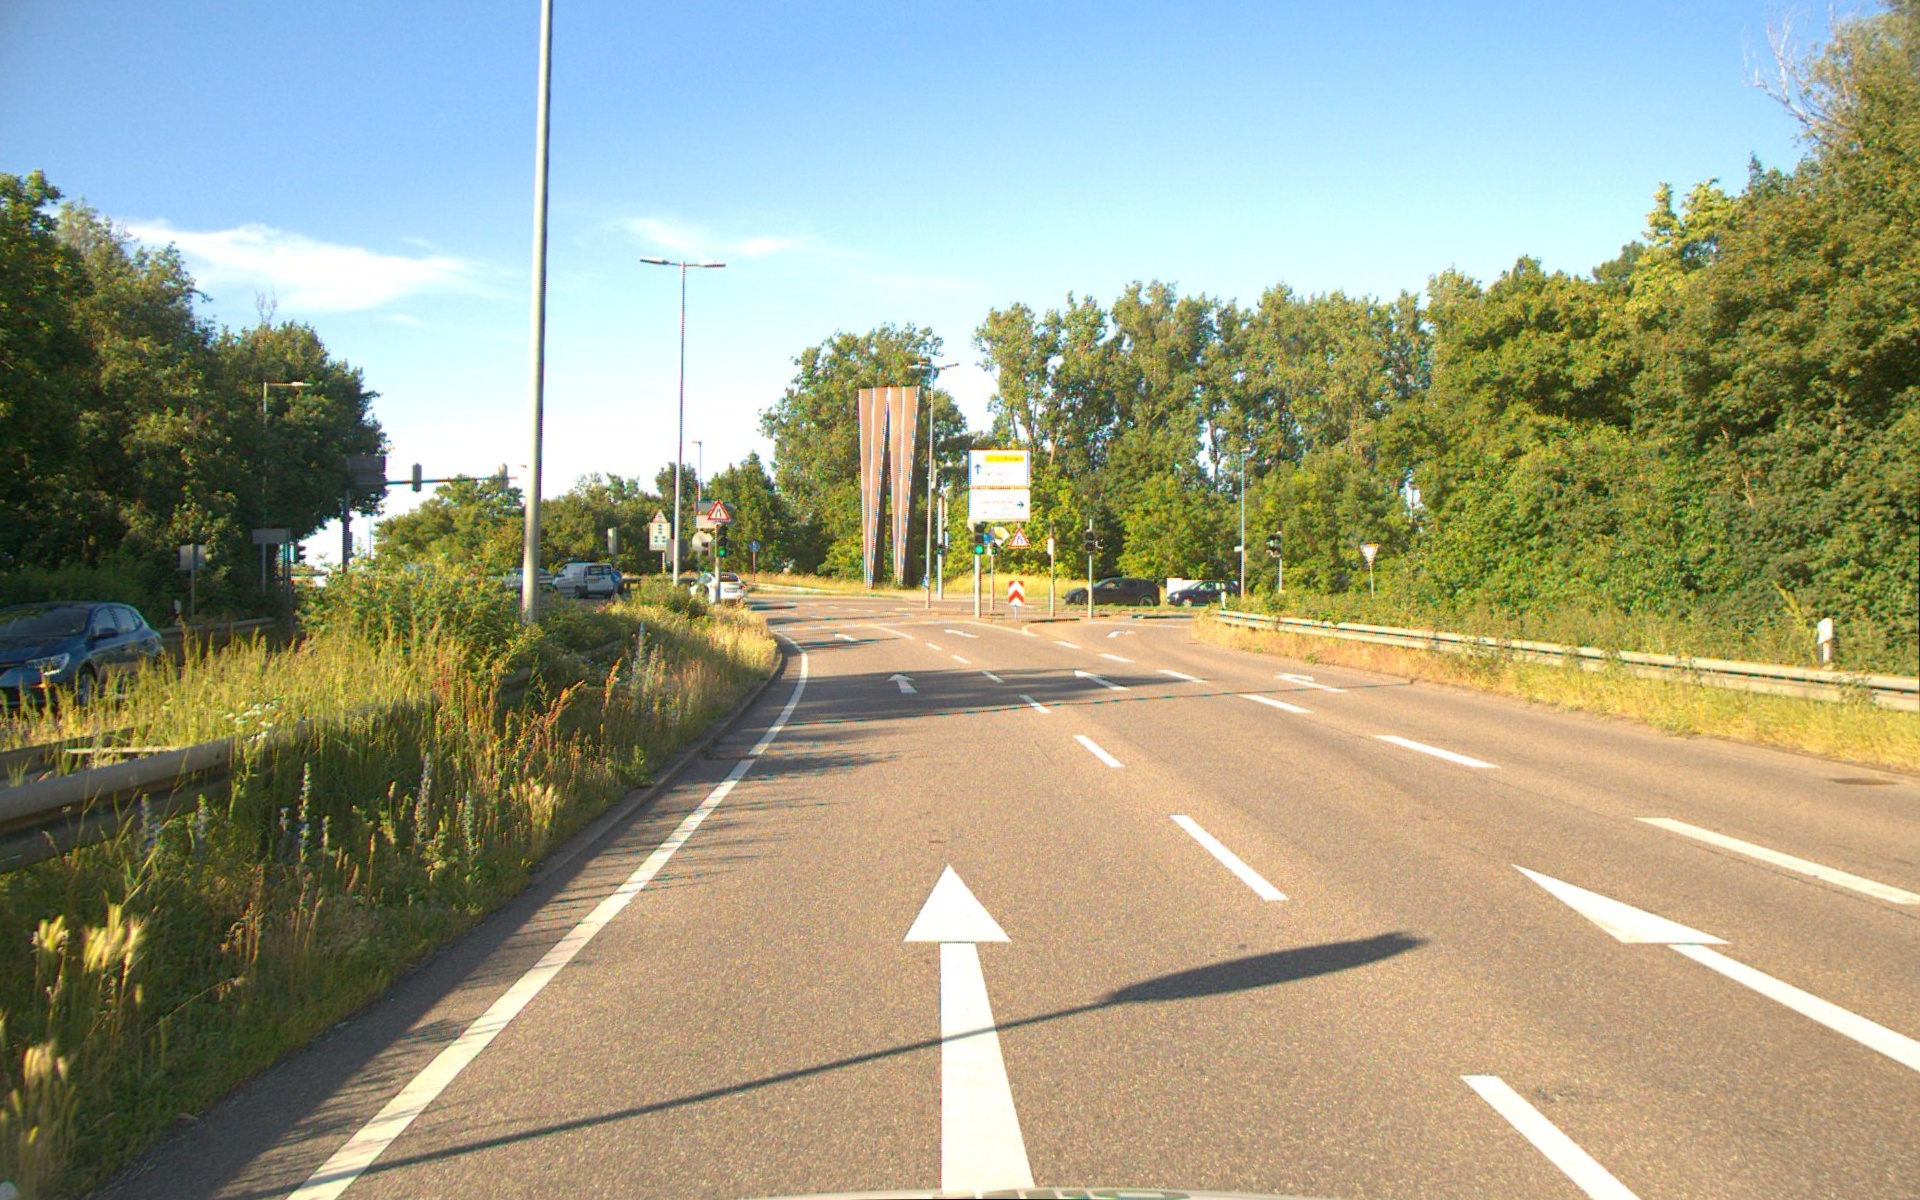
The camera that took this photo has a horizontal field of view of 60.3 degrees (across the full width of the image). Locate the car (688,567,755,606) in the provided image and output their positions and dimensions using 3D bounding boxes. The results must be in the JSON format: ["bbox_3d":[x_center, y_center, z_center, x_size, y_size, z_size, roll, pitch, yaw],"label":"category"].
[{"bbox_3d":[-10.618,-0.624,73.437,1.966,1.668,4.100,-1,1,-23],"label":"car"}]

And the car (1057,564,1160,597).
[{"bbox_3d":[6.863,-0.902,76.557,4.376,1.489,1.996,0,2,-10],"label":"car"}]

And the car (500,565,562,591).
[{"bbox_3d":[-26.549,-1.391,102.273,4.085,1.500,1.962,2,2,45],"label":"car"}]

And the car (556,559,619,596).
[{"bbox_3d":[-20.154,-1.238,89.486,1.976,1.912,4.200,-1,1,-33],"label":"car"}]

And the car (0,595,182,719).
[{"bbox_3d":[-12.086,0.703,22.058,1.851,1.445,4.356,-2,1,-8],"label":"car"}]

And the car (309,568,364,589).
[{"bbox_3d":[-46.228,-1.556,122.572,3.928,1.534,2.260,0,1,42],"label":"car"}]

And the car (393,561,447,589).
[{"bbox_3d":[-35.336,-1.654,108.170,1.958,1.728,3.940,-2,2,-42],"label":"car"}]

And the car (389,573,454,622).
[{"bbox_3d":[-18.098,-0.113,55.727,1.855,1.547,4.199,-1,1,-16],"label":"car"}]

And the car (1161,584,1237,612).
[{"bbox_3d":[12.218,-0.099,84.652,3.618,1.411,1.609,0,1,-4],"label":"car"}]
